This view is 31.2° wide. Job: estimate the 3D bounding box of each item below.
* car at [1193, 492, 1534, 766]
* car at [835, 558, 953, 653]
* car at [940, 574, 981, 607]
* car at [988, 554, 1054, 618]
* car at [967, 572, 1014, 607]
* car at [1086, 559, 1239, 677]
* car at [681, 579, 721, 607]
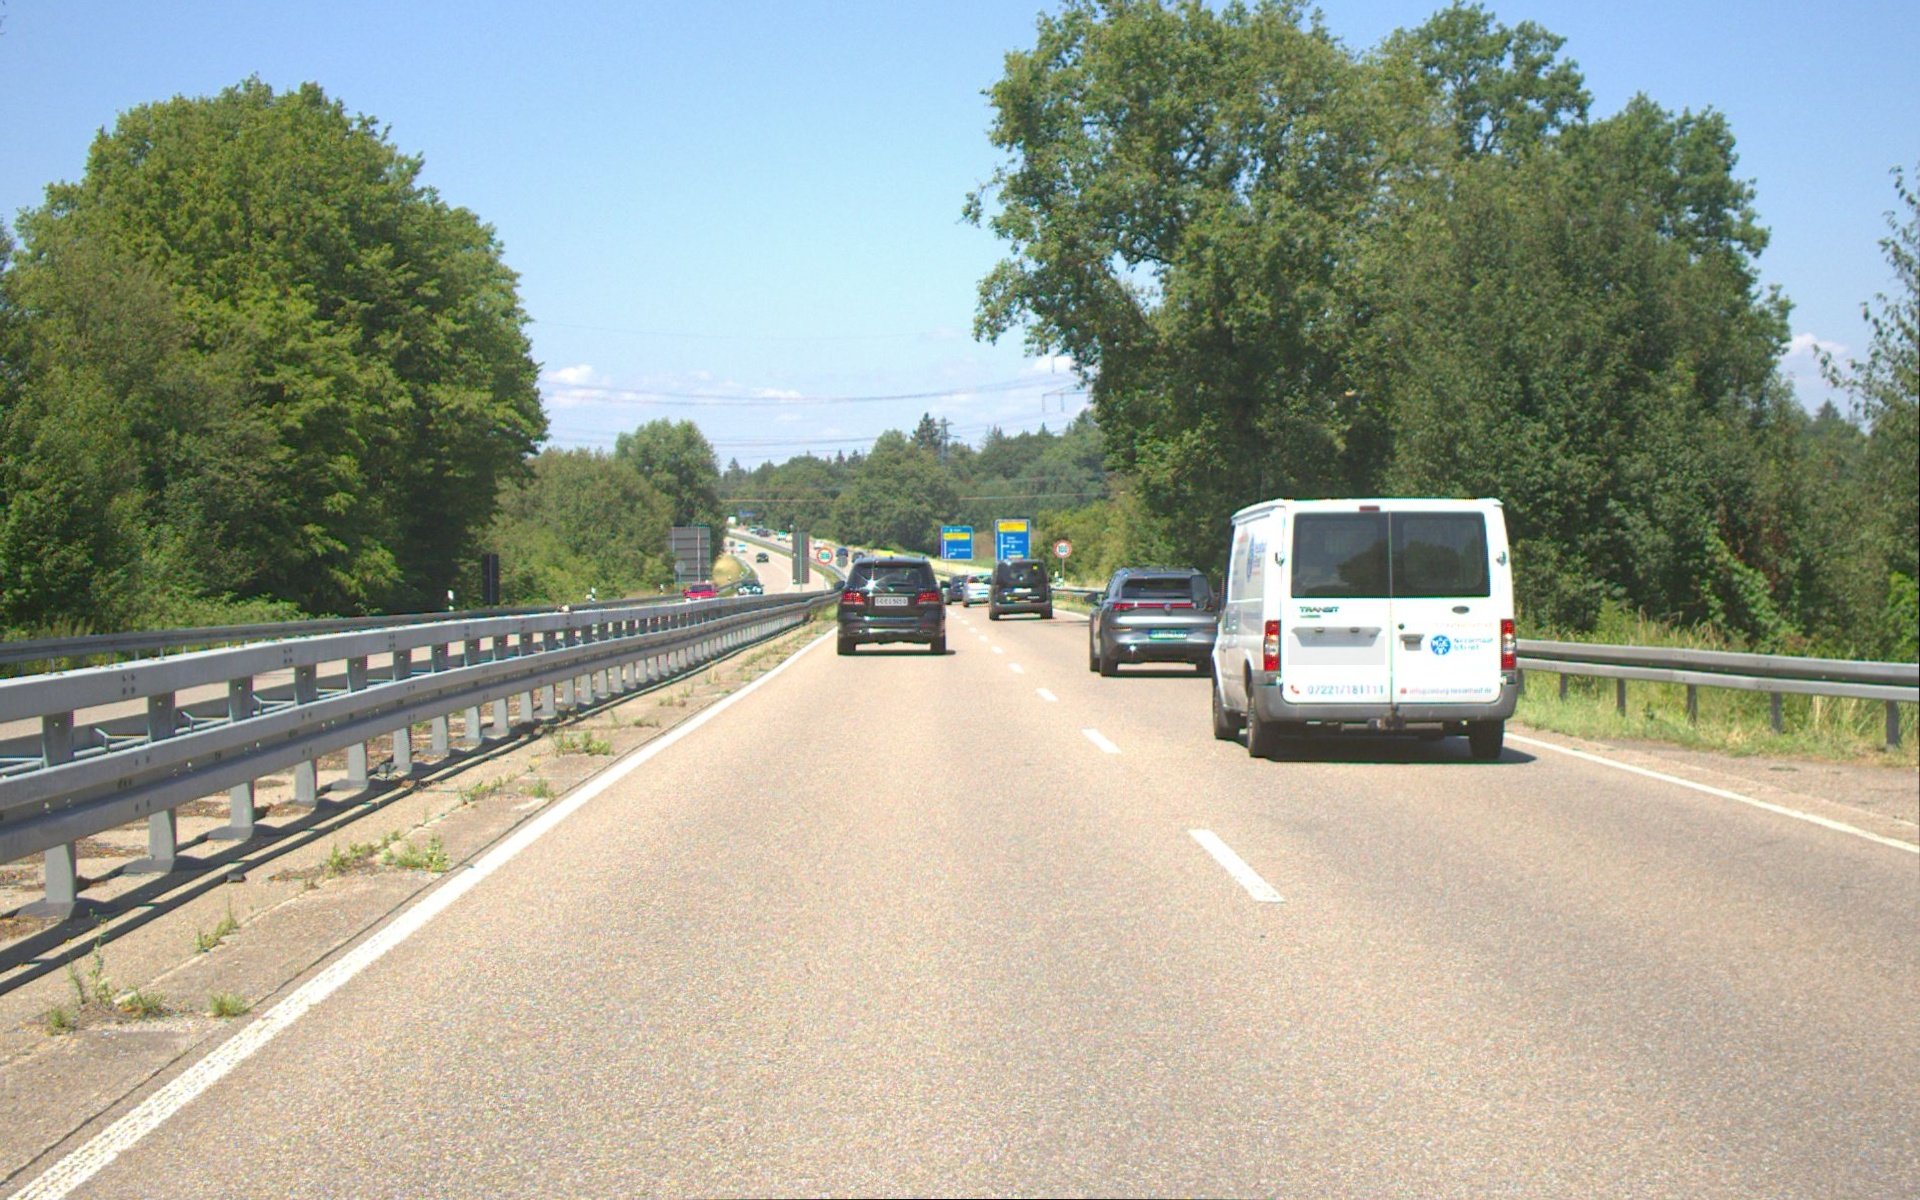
[{"bbox_3d":[3.124,0.207,27.663,2.005,1.982,5.035,-1,0,-1],"label":"car"},{"bbox_3d":[-1.223,0.072,61.631,1.993,1.649,4.000,0,1,-3],"label":"car"},{"bbox_3d":[0.011,-0.469,165.105,1.819,1.409,4.000,-2,1,-2],"label":"car"},{"bbox_3d":[1.813,-0.435,103.323,1.779,1.810,4.213,-2,1,-1],"label":"car"},{"bbox_3d":[1.327,-0.468,150.463,1.779,1.474,4.316,0,1,-3],"label":"car"},{"bbox_3d":[2.839,0.224,48.963,1.785,1.548,4.020,-1,1,-2],"label":"car"},{"bbox_3d":[-13.553,-0.367,180.043,1.776,1.414,4.575,-2,0,-1],"label":"car"}]
